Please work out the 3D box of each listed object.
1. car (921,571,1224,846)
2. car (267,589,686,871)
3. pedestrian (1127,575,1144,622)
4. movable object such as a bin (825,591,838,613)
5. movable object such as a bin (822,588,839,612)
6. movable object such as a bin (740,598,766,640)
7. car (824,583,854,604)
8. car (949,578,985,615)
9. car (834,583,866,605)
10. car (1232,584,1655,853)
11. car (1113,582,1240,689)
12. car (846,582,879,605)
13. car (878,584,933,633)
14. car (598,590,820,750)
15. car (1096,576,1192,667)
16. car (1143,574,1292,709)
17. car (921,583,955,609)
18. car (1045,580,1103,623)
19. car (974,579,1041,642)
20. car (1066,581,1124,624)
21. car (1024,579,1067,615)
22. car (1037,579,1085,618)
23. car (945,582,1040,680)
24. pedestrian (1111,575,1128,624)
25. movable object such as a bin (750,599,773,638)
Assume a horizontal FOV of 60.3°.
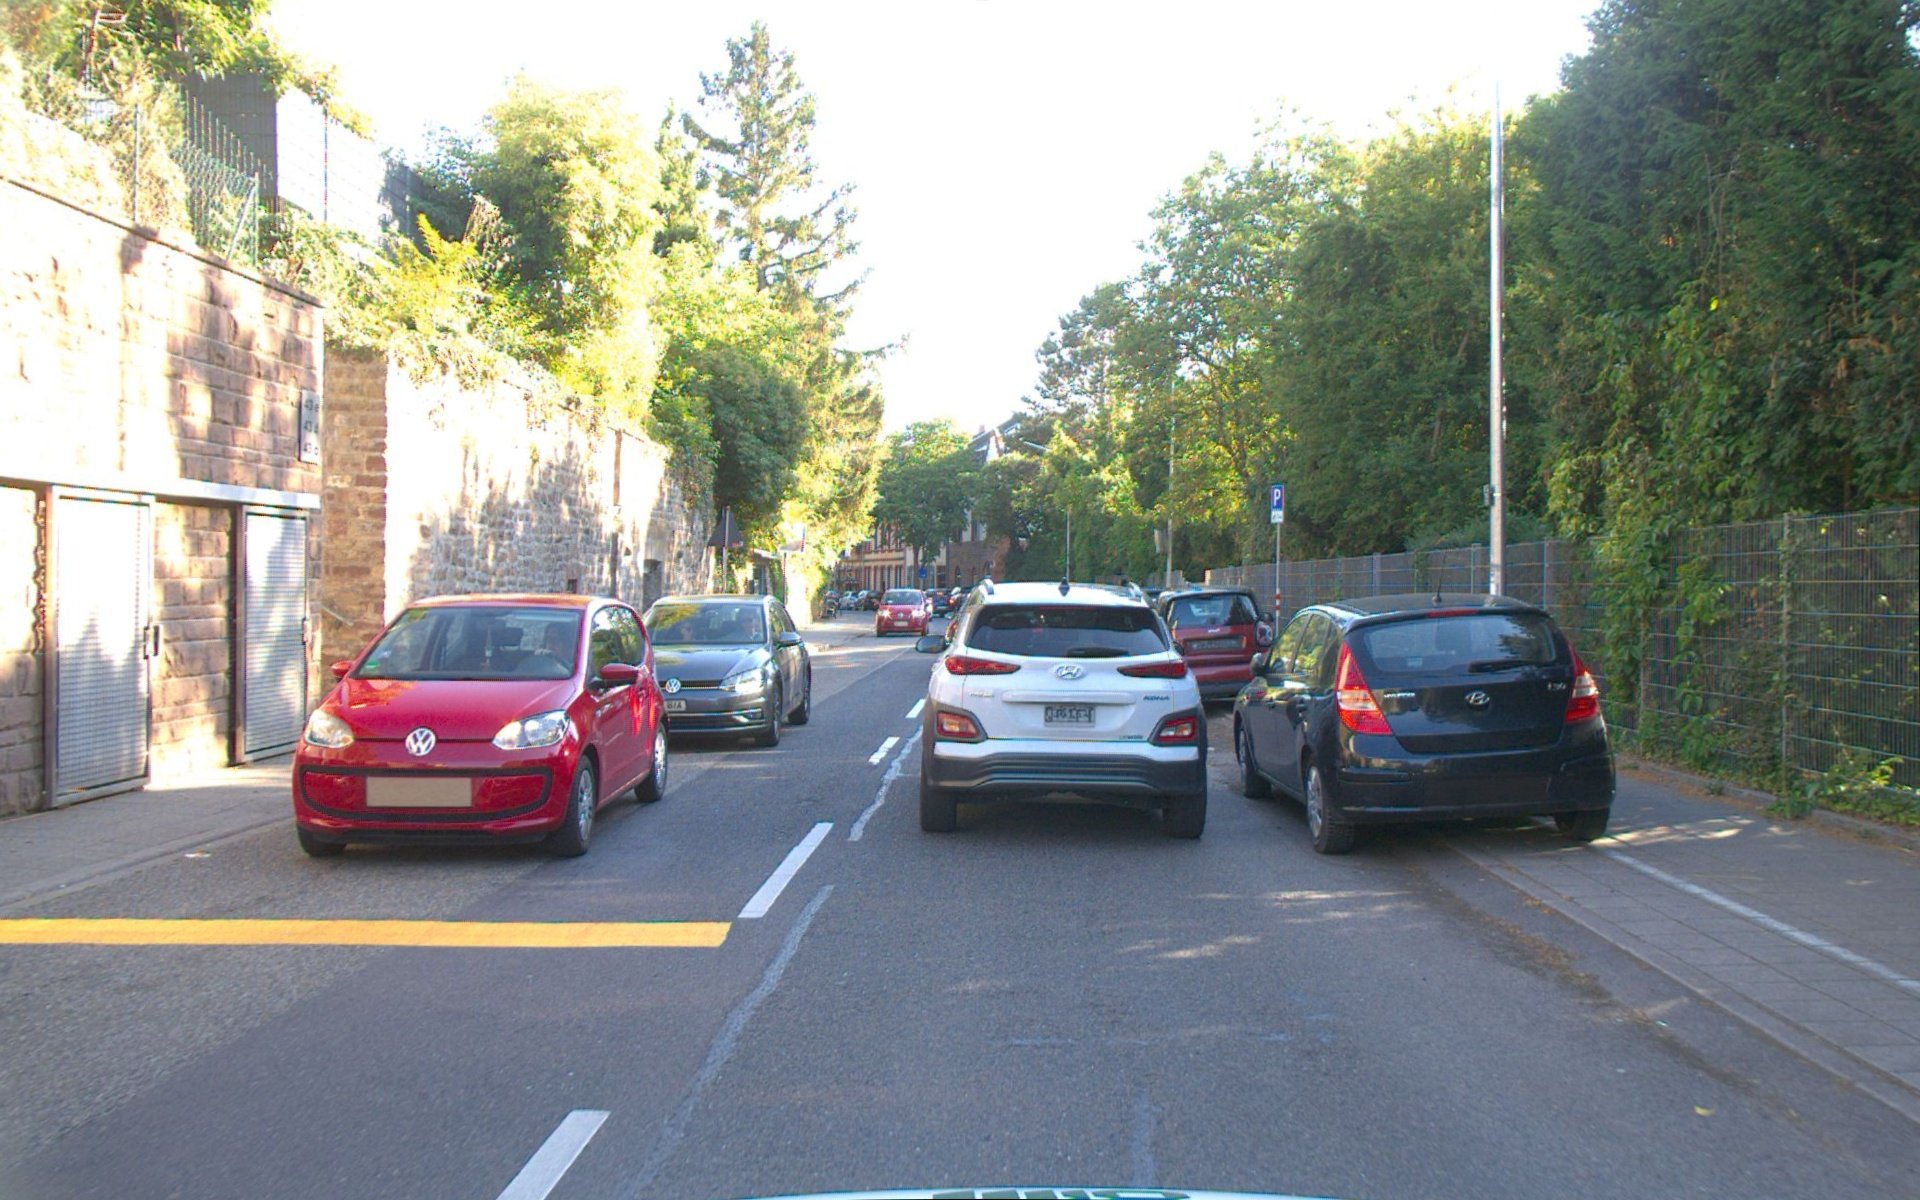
[{"bbox_3d":[0.806,0.612,11.596,1.735,1.569,4.002,1,0,5],"label":"car"},{"bbox_3d":[-2.826,0.667,10.443,1.593,1.446,3.563,-1,0,0],"label":"car"},{"bbox_3d":[5.963,-0.054,56.139,0.492,1.596,0.504,-2,0,2],"label":"pedestrian"},{"bbox_3d":[-6.034,0.094,77.915,0.485,1.029,1.113,1,0,1],"label":"movable object such as a bin"},{"bbox_3d":[-6.892,-0.003,87.991,0.775,1.210,0.773,1,0,0],"label":"movable object such as a bin"},{"bbox_3d":[-5.066,0.466,40.570,0.561,1.002,0.438,1,0,-1],"label":"movable object such as a bin"},{"bbox_3d":[-9.975,-0.545,136.092,1.727,1.645,3.984,1,1,-15],"label":"car"},{"bbox_3d":[0.287,-0.167,73.956,1.557,1.610,3.360,0,0,-1],"label":"car"},{"bbox_3d":[-8.733,-0.513,131.063,1.727,1.645,3.984,1,1,-15],"label":"car"},{"bbox_3d":[2.996,0.633,11.125,1.757,1.466,4.001,0,1,1],"label":"car"},{"bbox_3d":[3.412,0.500,26.736,1.675,1.524,4.816,2,1,4],"label":"car"},{"bbox_3d":[-7.459,-0.481,126.270,1.727,1.645,3.984,1,1,-15],"label":"car"},{"bbox_3d":[-1.738,0.241,53.578,1.518,1.491,3.569,-2,0,2],"label":"car"},{"bbox_3d":[-2.465,0.627,17.103,1.615,1.435,3.931,-1,0,1],"label":"car"},{"bbox_3d":[3.433,0.368,31.281,1.591,1.536,2.905,-2,1,3],"label":"car"},{"bbox_3d":[3.237,0.480,21.205,1.618,1.591,2.874,0,0,4],"label":"car"},{"bbox_3d":[-1.218,-0.254,91.858,1.559,1.410,3.356,0,0,-7],"label":"car"},{"bbox_3d":[4.466,0.039,65.349,1.563,1.592,3.994,-2,0,-7],"label":"car"},{"bbox_3d":[1.236,0.226,41.933,1.537,1.503,3.550,1,1,4],"label":"car"},{"bbox_3d":[4.873,0.071,60.024,1.652,1.456,3.999,-2,1,-1],"label":"car"},{"bbox_3d":[3.911,-0.159,76.332,1.562,1.515,3.600,-3,1,-3],"label":"car"},{"bbox_3d":[4.267,-0.053,70.379,1.562,1.545,3.930,-3,0,-3],"label":"car"},{"bbox_3d":[0.607,0.486,28.637,1.480,1.560,3.550,0,1,4],"label":"car"},{"bbox_3d":[5.415,-0.027,56.176,0.492,1.634,0.491,-2,0,2],"label":"pedestrian"},{"bbox_3d":[-4.997,0.461,41.636,0.480,0.981,0.583,1,0,-1],"label":"movable object such as a bin"}]
